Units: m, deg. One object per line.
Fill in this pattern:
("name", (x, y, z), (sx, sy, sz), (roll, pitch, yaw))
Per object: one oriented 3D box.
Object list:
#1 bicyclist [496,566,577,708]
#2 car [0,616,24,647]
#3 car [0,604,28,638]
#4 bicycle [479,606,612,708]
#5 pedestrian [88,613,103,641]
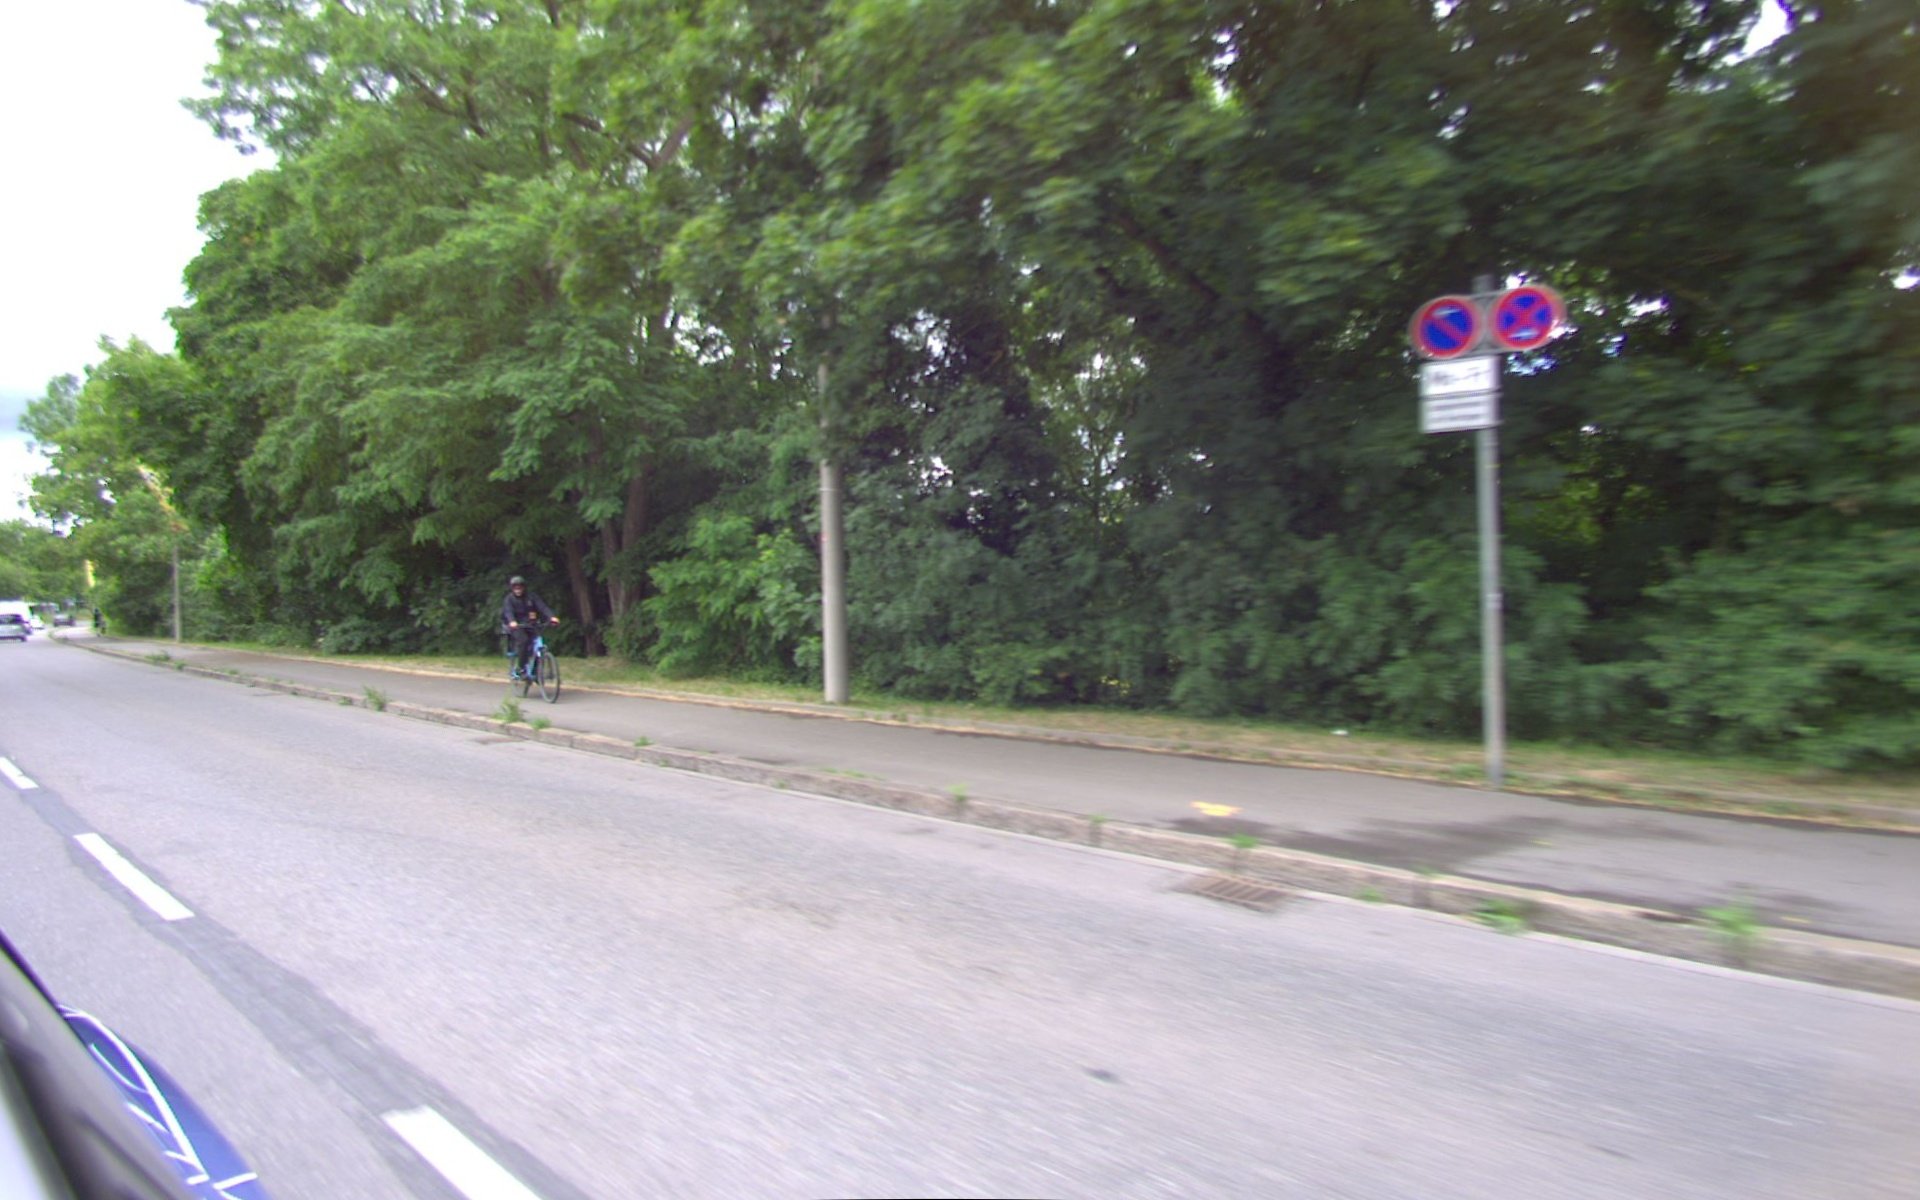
("bicyclist", (-6.095, 0.513, 14.572), (0.835, 1.962, 0.680), (-1, 1, 38))
("car", (-57.501, 1.877, 60.575), (4.556, 1.813, 1.836), (-2, -1, 43))
("car", (-76.815, 1.705, 81.721), (5.897, 2.646, 1.971), (-2, -2, 45))
("bicycle", (-6.005, 0.796, 14.585), (2.277, 1.341, 0.692), (-2, 1, 38))
("pedestrian", (-54.205, 1.686, 63.443), (0.815, 1.727, 0.592), (-2, 1, 44))
